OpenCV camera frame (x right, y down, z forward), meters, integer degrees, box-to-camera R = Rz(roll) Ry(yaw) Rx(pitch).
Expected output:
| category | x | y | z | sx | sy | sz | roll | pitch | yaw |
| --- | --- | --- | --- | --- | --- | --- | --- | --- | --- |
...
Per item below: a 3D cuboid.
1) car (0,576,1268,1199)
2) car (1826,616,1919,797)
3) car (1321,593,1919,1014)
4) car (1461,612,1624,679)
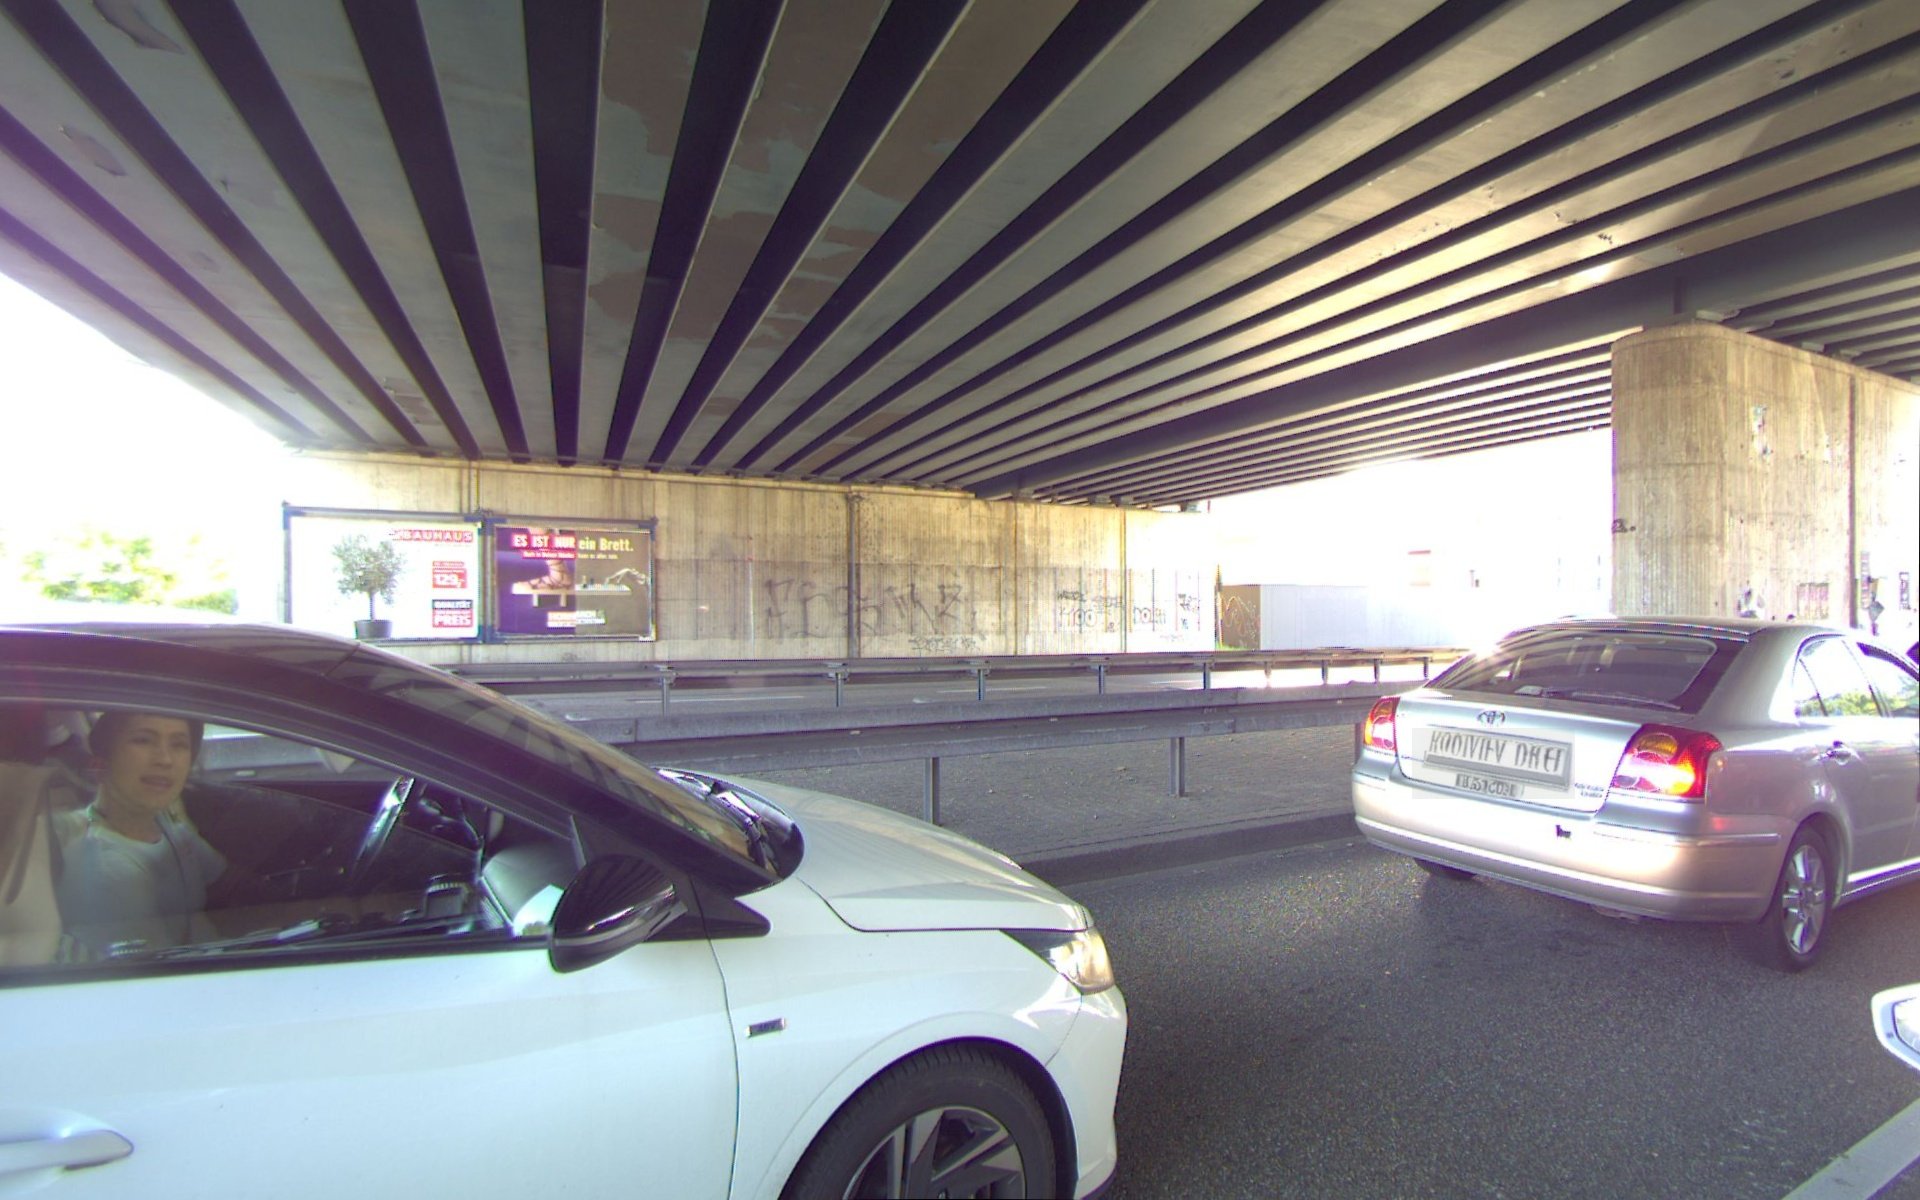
| category | x | y | z | sx | sy | sz | roll | pitch | yaw |
| --- | --- | --- | --- | --- | --- | --- | --- | --- | --- |
| car | -1.428 | 0.728 | 1.963 | 3.946 | 1.499 | 1.724 | 1 | -1 | -32 |
| car | 9.537 | 0.886 | 8.861 | 3.687 | 1.457 | 1.804 | 0 | 0 | -31 |
| car | 4.081 | 0.773 | 5.455 | 4.270 | 1.499 | 1.724 | 1 | -1 | -32 |
| car | 15.259 | 1.134 | 26.272 | 4.130 | 1.609 | 1.817 | 0 | -1 | -28 |
